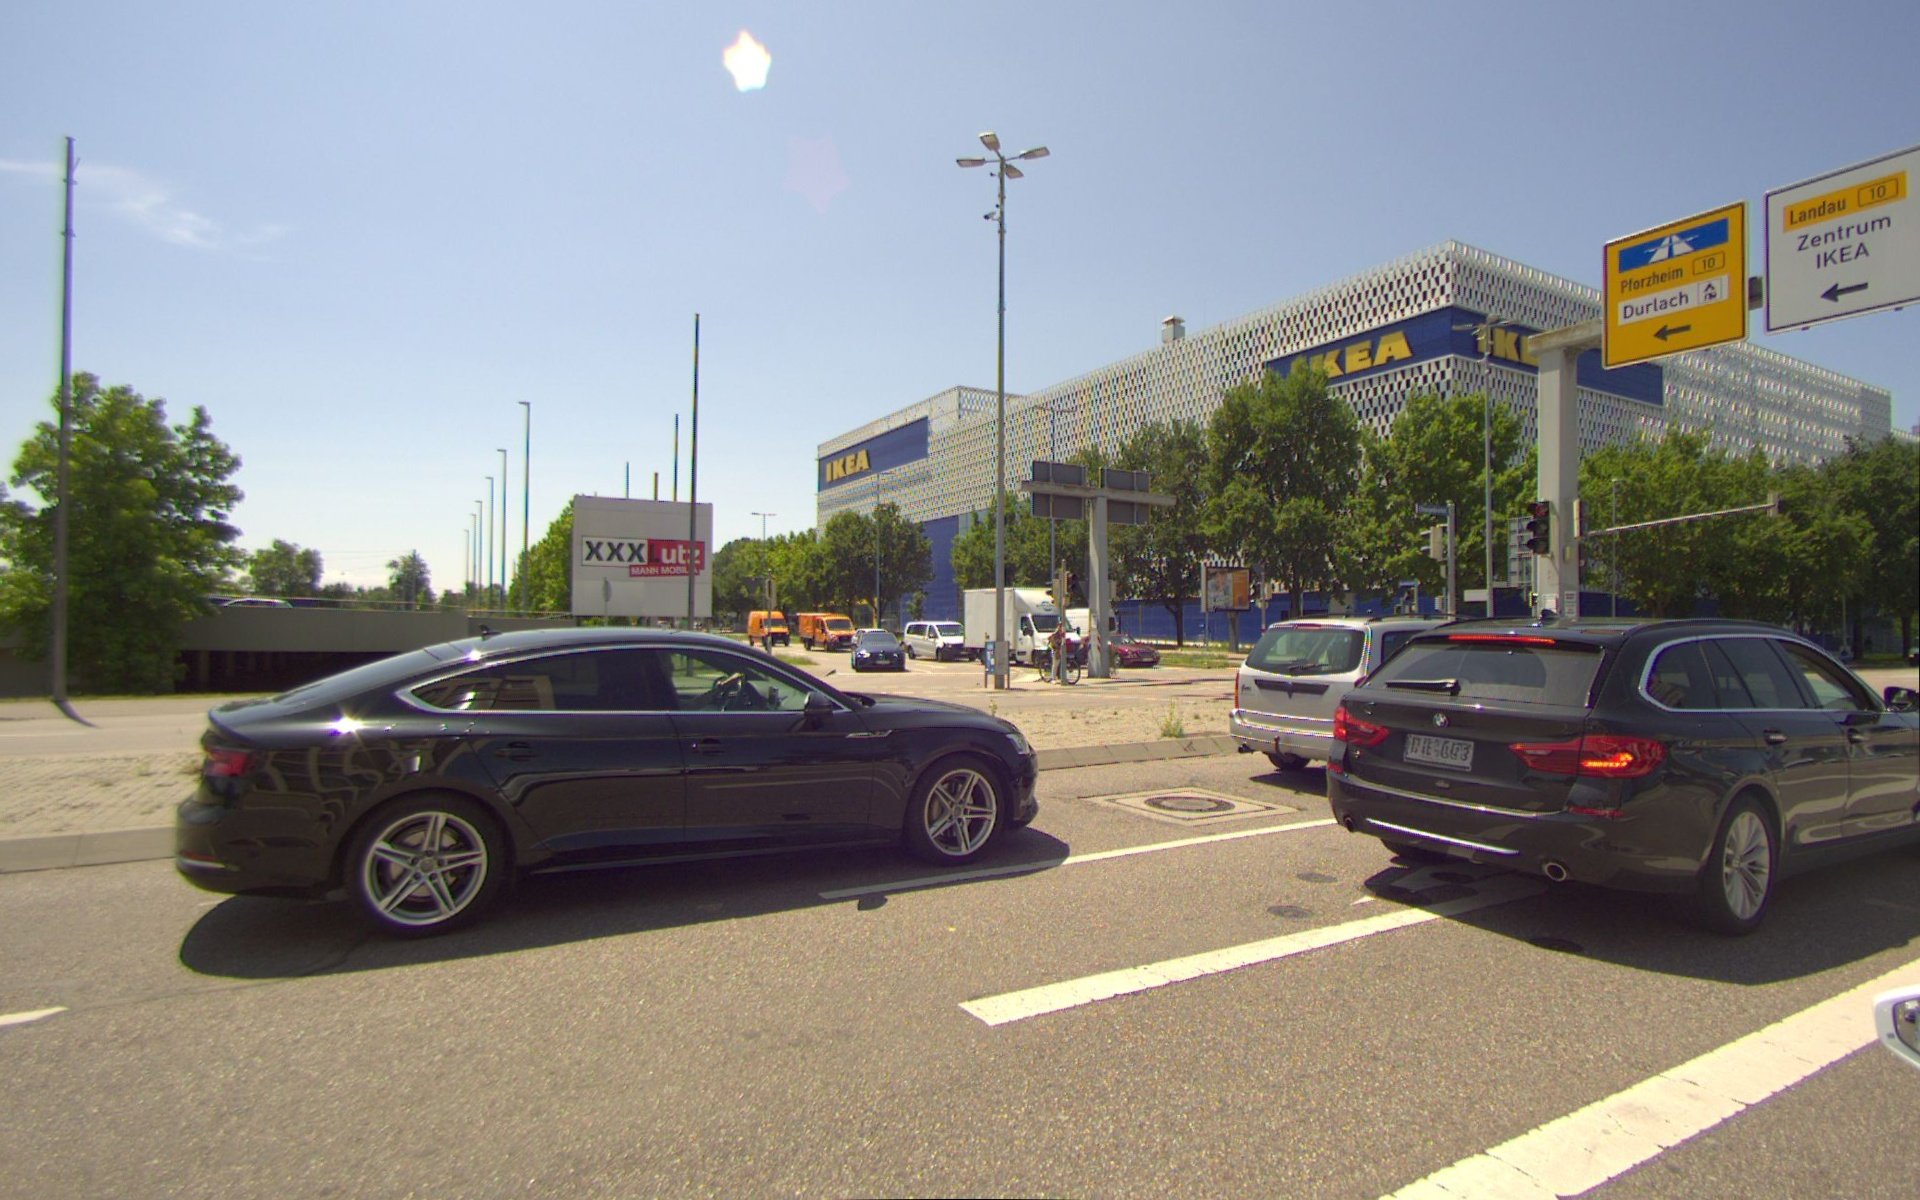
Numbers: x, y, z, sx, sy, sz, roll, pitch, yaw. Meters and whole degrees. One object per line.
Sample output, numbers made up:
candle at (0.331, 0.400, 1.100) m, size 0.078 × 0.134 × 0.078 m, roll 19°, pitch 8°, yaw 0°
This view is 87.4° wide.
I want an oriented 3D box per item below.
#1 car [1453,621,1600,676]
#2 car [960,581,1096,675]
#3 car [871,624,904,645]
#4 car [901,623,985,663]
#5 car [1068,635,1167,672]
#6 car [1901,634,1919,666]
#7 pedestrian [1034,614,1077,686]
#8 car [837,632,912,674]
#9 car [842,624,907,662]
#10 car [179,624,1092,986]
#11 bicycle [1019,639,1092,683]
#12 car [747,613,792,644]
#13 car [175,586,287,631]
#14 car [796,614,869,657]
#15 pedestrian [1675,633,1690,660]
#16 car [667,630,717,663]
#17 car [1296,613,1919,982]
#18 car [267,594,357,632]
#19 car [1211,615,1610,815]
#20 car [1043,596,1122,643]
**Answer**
car at (18.683, 1.556, 33.345) m, size 1.689 × 1.673 × 4.190 m, roll 1°, pitch -1°, yaw -20°
car at (2.634, 1.146, 41.546) m, size 2.157 × 3.532 × 6.872 m, roll -1°, pitch -1°, yaw -29°
car at (-6.970, 3.309, 96.310) m, size 1.972 × 2.040 × 3.978 m, roll 1°, pitch -2°, yaw -23°
car at (-0.924, 2.090, 48.886) m, size 1.974 × 1.835 × 5.436 m, roll 1°, pitch -2°, yaw -26°
car at (6.301, 2.119, 40.636) m, size 1.755 × 1.360 × 4.264 m, roll 0°, pitch -2°, yaw -29°
car at (62.951, 3.238, 64.872) m, size 4.710 × 2.034 × 1.984 m, roll 2°, pitch -3°, yaw -31°
pedestrian at (2.750, 1.425, 29.019) m, size 0.857 × 2.040 × 0.898 m, roll 1°, pitch -2°, yaw -36°
car at (-3.361, 2.009, 38.857) m, size 1.904 × 1.528 × 3.981 m, roll 1°, pitch -2°, yaw -21°
car at (-4.908, 2.420, 56.783) m, size 1.975 × 2.040 × 4.680 m, roll 1°, pitch -2°, yaw -28°
car at (-1.548, 0.853, 5.842) m, size 4.478 × 1.409 × 1.740 m, roll 1°, pitch -1°, yaw -29°
bicycle at (2.735, 1.738, 29.028) m, size 0.987 × 1.229 × 2.078 m, roll 1°, pitch -2°, yaw -36°
car at (-14.645, 2.213, 76.991) m, size 1.973 × 2.318 × 5.846 m, roll 1°, pitch -2°, yaw -25°
car at (-33.389, 0.445, 46.176) m, size 3.955 × 1.957 × 1.983 m, roll 1°, pitch -2°, yaw -31°
car at (-8.157, 2.269, 63.615) m, size 2.543 × 2.568 × 6.585 m, roll 1°, pitch -2°, yaw -27°
pedestrian at (40.196, 2.609, 55.880) m, size 0.477 × 1.502 × 0.460 m, roll 1°, pitch -2°, yaw -27°
car at (-17.063, 2.913, 63.925) m, size 1.816 × 2.040 × 3.961 m, roll 1°, pitch -2°, yaw -35°
car at (4.273, 0.844, 6.069) m, size 4.572 × 1.485 × 1.790 m, roll 1°, pitch -1°, yaw -32°
car at (-34.563, 0.711, 53.676) m, size 3.958 × 1.933 × 1.982 m, roll 1°, pitch -2°, yaw -34°
car at (4.372, 0.921, 9.536) m, size 3.963 × 1.514 × 1.785 m, roll 1°, pitch -1°, yaw -37°
car at (7.138, 1.152, 59.131) m, size 1.973 × 2.600 × 5.473 m, roll 1°, pitch -1°, yaw -25°
